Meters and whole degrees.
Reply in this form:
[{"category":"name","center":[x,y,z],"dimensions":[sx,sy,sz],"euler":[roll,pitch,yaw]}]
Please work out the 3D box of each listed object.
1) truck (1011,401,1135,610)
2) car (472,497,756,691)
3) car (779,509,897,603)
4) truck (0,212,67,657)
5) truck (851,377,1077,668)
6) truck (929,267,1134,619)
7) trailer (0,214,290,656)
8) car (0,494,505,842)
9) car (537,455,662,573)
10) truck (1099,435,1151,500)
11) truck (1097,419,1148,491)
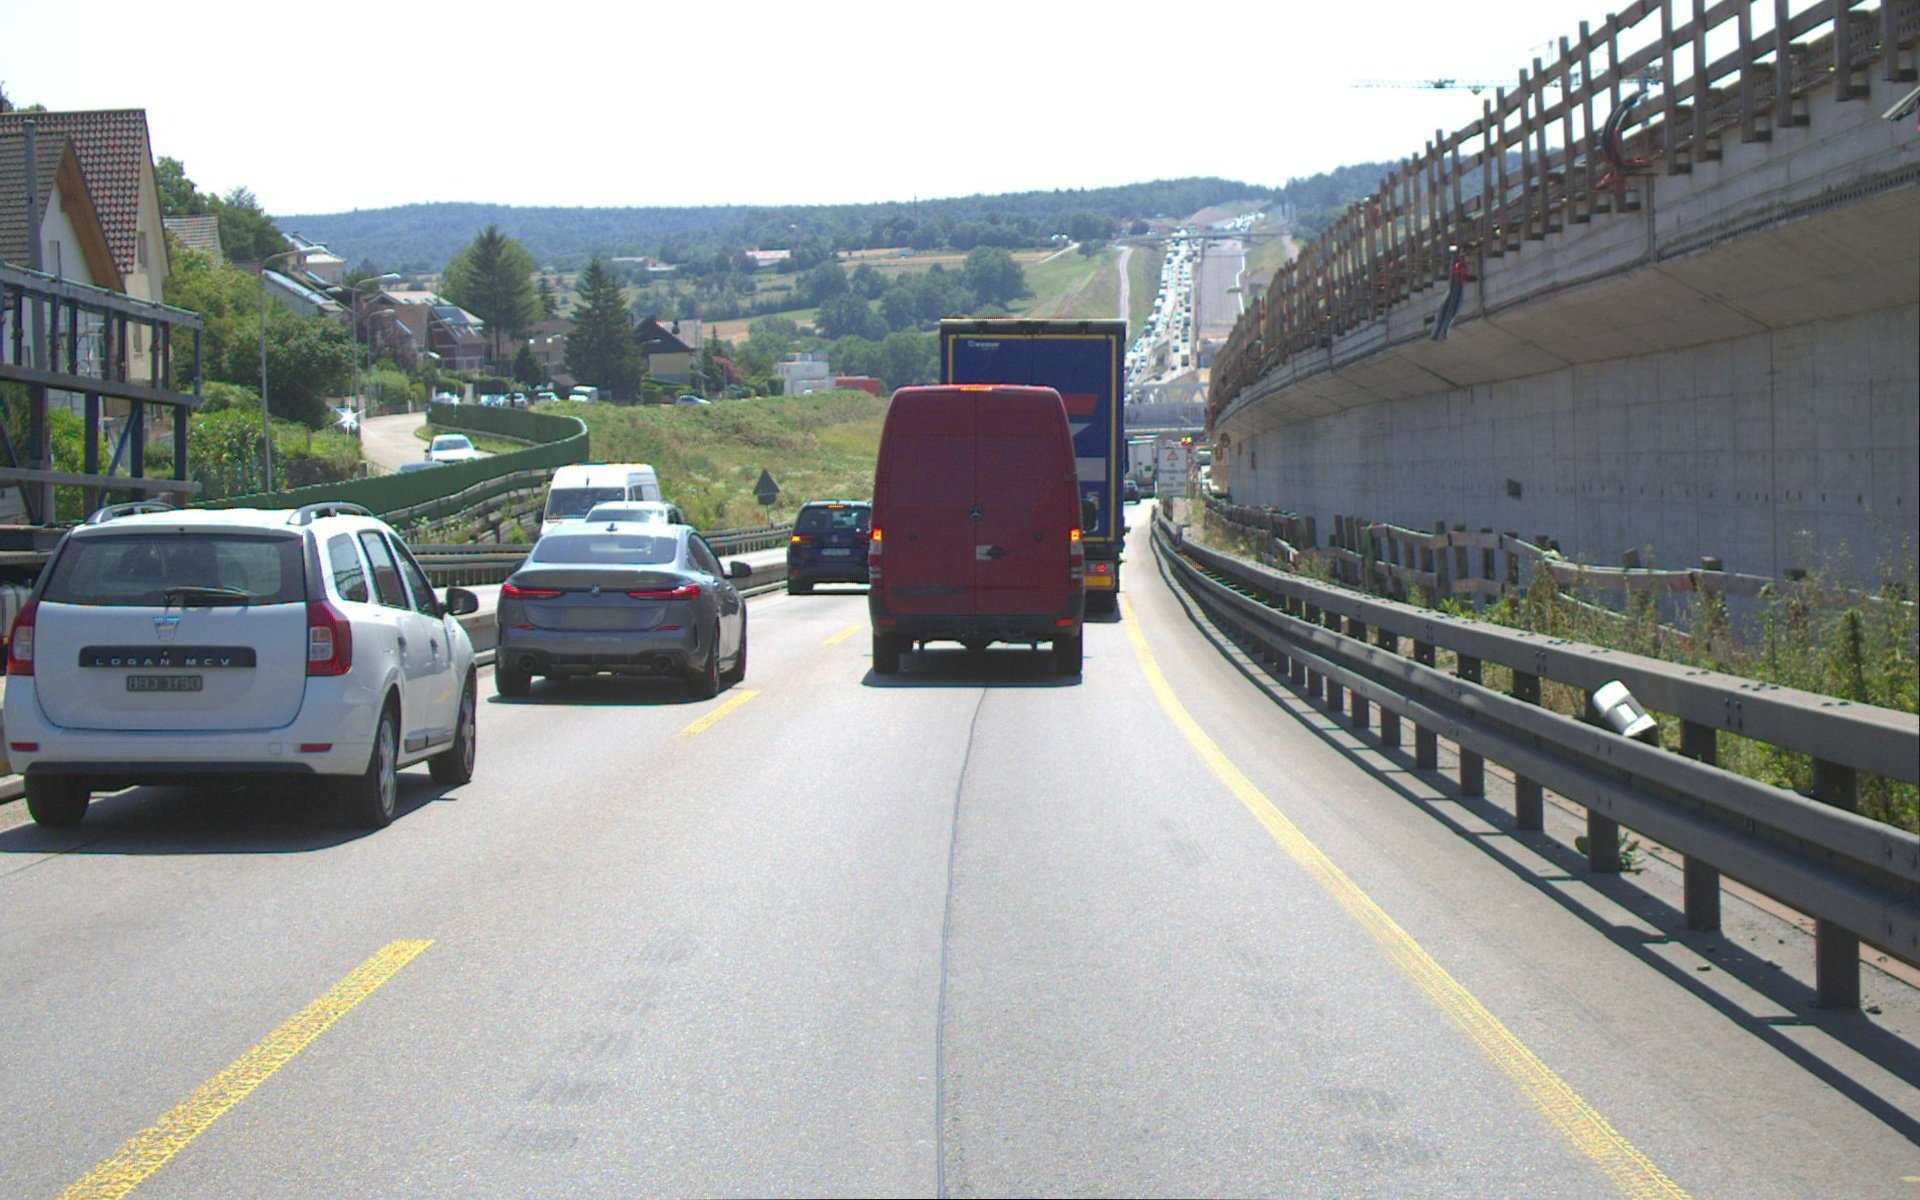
[{"category":"truck","center":[2.665,-2.182,83.944],"dimensions":[2.786,4.799,9.685],"euler":[0,0,1]},{"category":"car","center":[-2.814,-0.061,28.788],"dimensions":[1.795,1.480,4.049],"euler":[-1,0,2]},{"category":"car","center":[-2.131,-0.758,60.906],"dimensions":[1.810,1.602,3.719],"euler":[0,0,2]},{"category":"truck","center":[-9.776,-1.464,29.986],"dimensions":[2.508,3.951,5.175],"euler":[0,0,2]},{"category":"truck","center":[0.084,-0.691,32.528],"dimensions":[1.993,2.570,4.000],"euler":[0,0,2]},{"category":"truck","center":[1.030,-2.156,51.920],"dimensions":[2.786,4.799,9.685],"euler":[0,0,1]},{"category":"trailer","center":[-9.629,-1.508,36.461],"dimensions":[2.508,3.951,11.398],"euler":[0,0,2]},{"category":"car","center":[-3.474,0.282,17.414],"dimensions":[1.651,1.478,4.266],"euler":[-2,0,1]},{"category":"car","center":[-8.077,-1.886,77.398],"dimensions":[1.994,2.498,5.515],"euler":[0,0,3]},{"category":"truck","center":[11.970,-9.554,248.589],"dimensions":[3.468,4.366,8.555],"euler":[0,0,4]},{"category":"truck","center":[10.801,-9.563,227.917],"dimensions":[3.069,4.366,8.555],"euler":[0,0,4]}]
